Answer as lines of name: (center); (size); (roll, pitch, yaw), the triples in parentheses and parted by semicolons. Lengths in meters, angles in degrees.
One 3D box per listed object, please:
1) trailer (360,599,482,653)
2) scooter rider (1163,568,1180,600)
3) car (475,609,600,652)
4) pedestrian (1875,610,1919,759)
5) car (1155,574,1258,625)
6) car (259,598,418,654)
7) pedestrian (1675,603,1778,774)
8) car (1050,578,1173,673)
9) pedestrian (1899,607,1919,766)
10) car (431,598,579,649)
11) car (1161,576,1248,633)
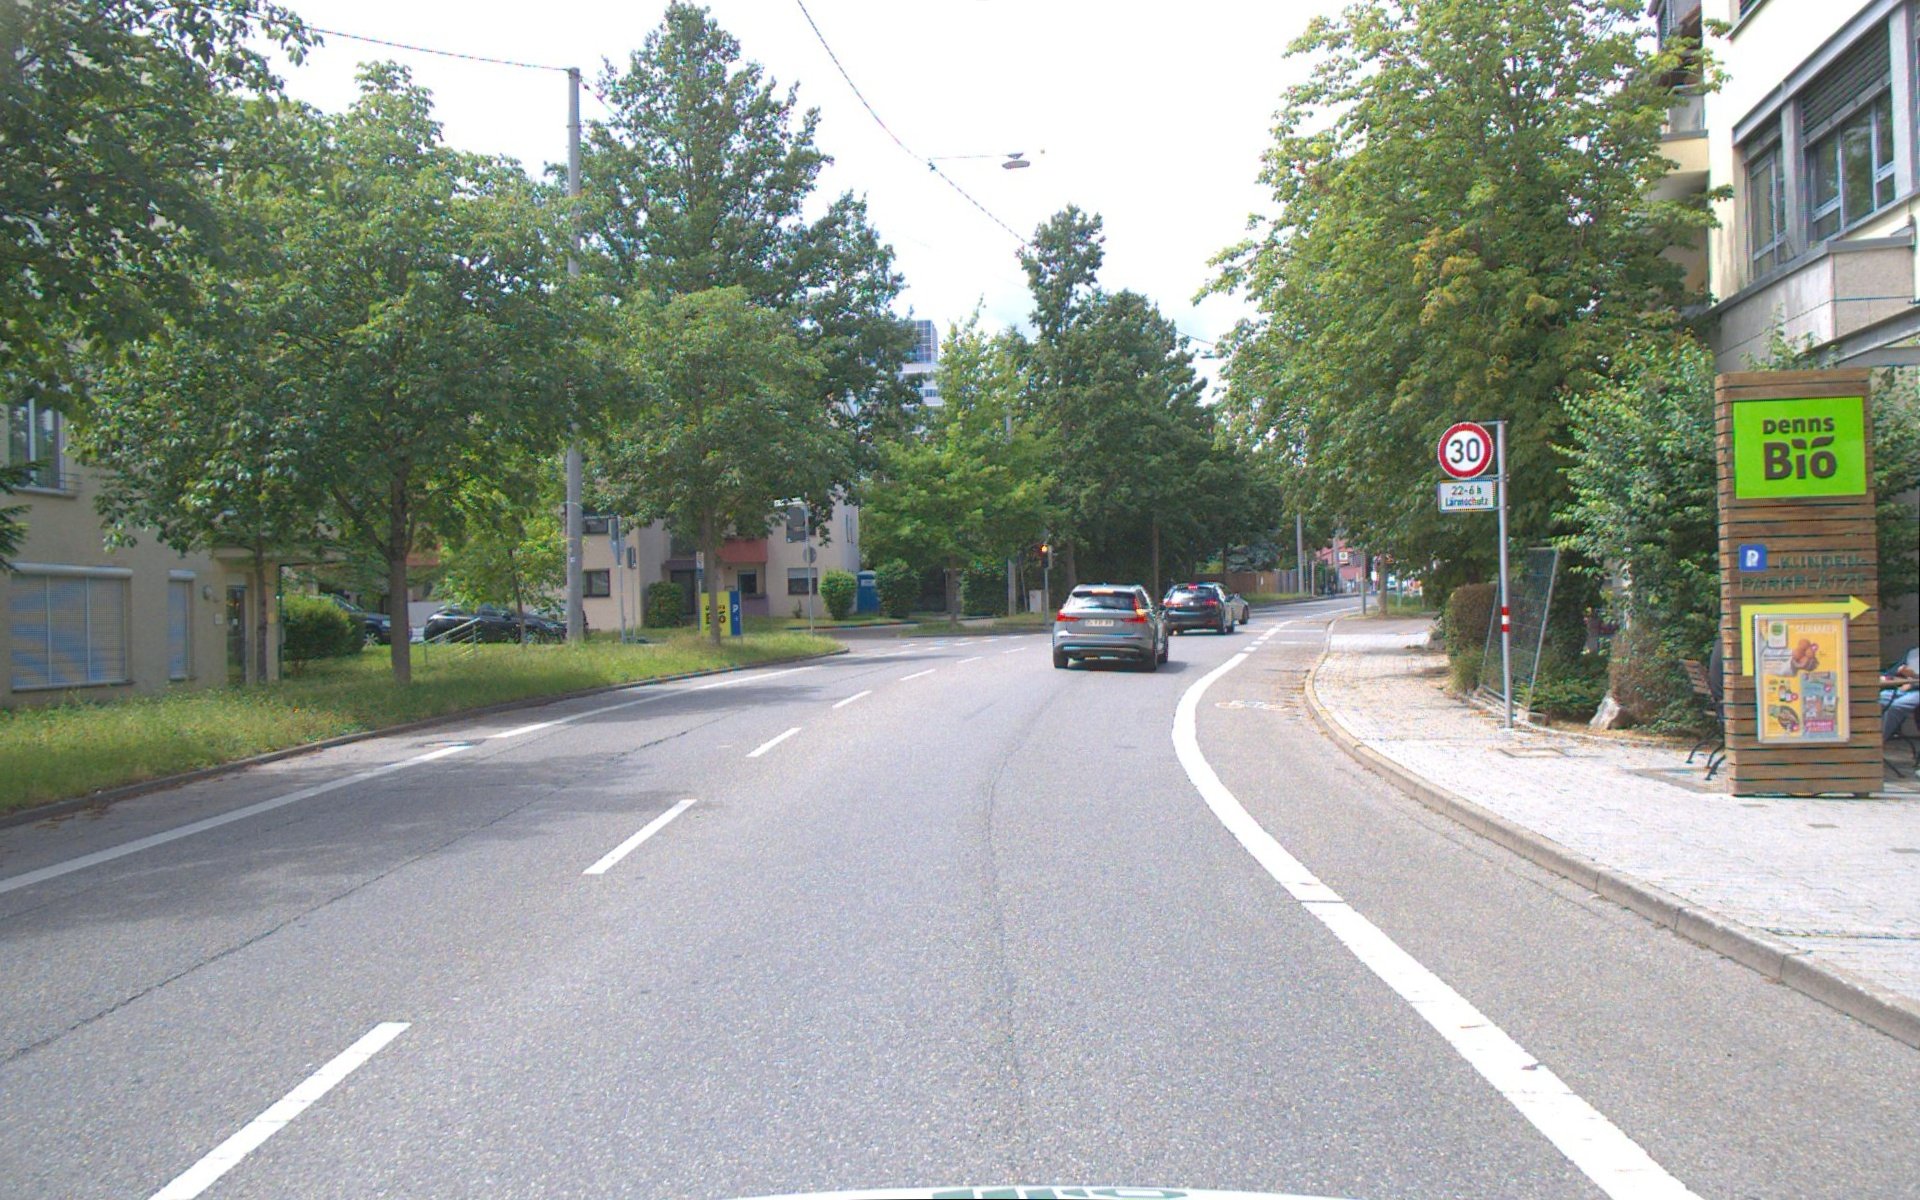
trailer: (-19.327, 0.934, 59.449); (3.827, 1.830, 1.630); (0, -4, -2)
scooter rider: (11.861, -0.891, 92.829); (0.696, 1.758, 0.674); (0, -1, -25)
car: (-15.113, 1.091, 59.354); (3.993, 1.424, 1.794); (-1, -4, 1)
pedestrian: (7.939, 0.682, 13.609); (0.511, 1.202, 0.500); (0, -1, -9)
car: (8.684, 0.010, 57.988); (1.774, 1.644, 4.313); (2, 0, 35)
car: (-18.979, 0.770, 50.651); (4.089, 1.550, 1.901); (-2, 0, 1)
pedestrian: (6.163, 0.698, 13.328); (0.674, 1.339, 0.579); (-1, -1, 18)
car: (2.861, 0.403, 30.499); (1.914, 1.549, 4.333); (2, 1, 9)
pedestrian: (7.710, 0.667, 12.815); (0.565, 1.225, 0.503); (-1, -1, 2)
car: (-13.836, 0.732, 50.462); (3.993, 1.424, 1.794); (-1, -4, 1)
car: (7.201, 0.099, 48.388); (1.766, 1.549, 4.331); (2, 1, 18)
